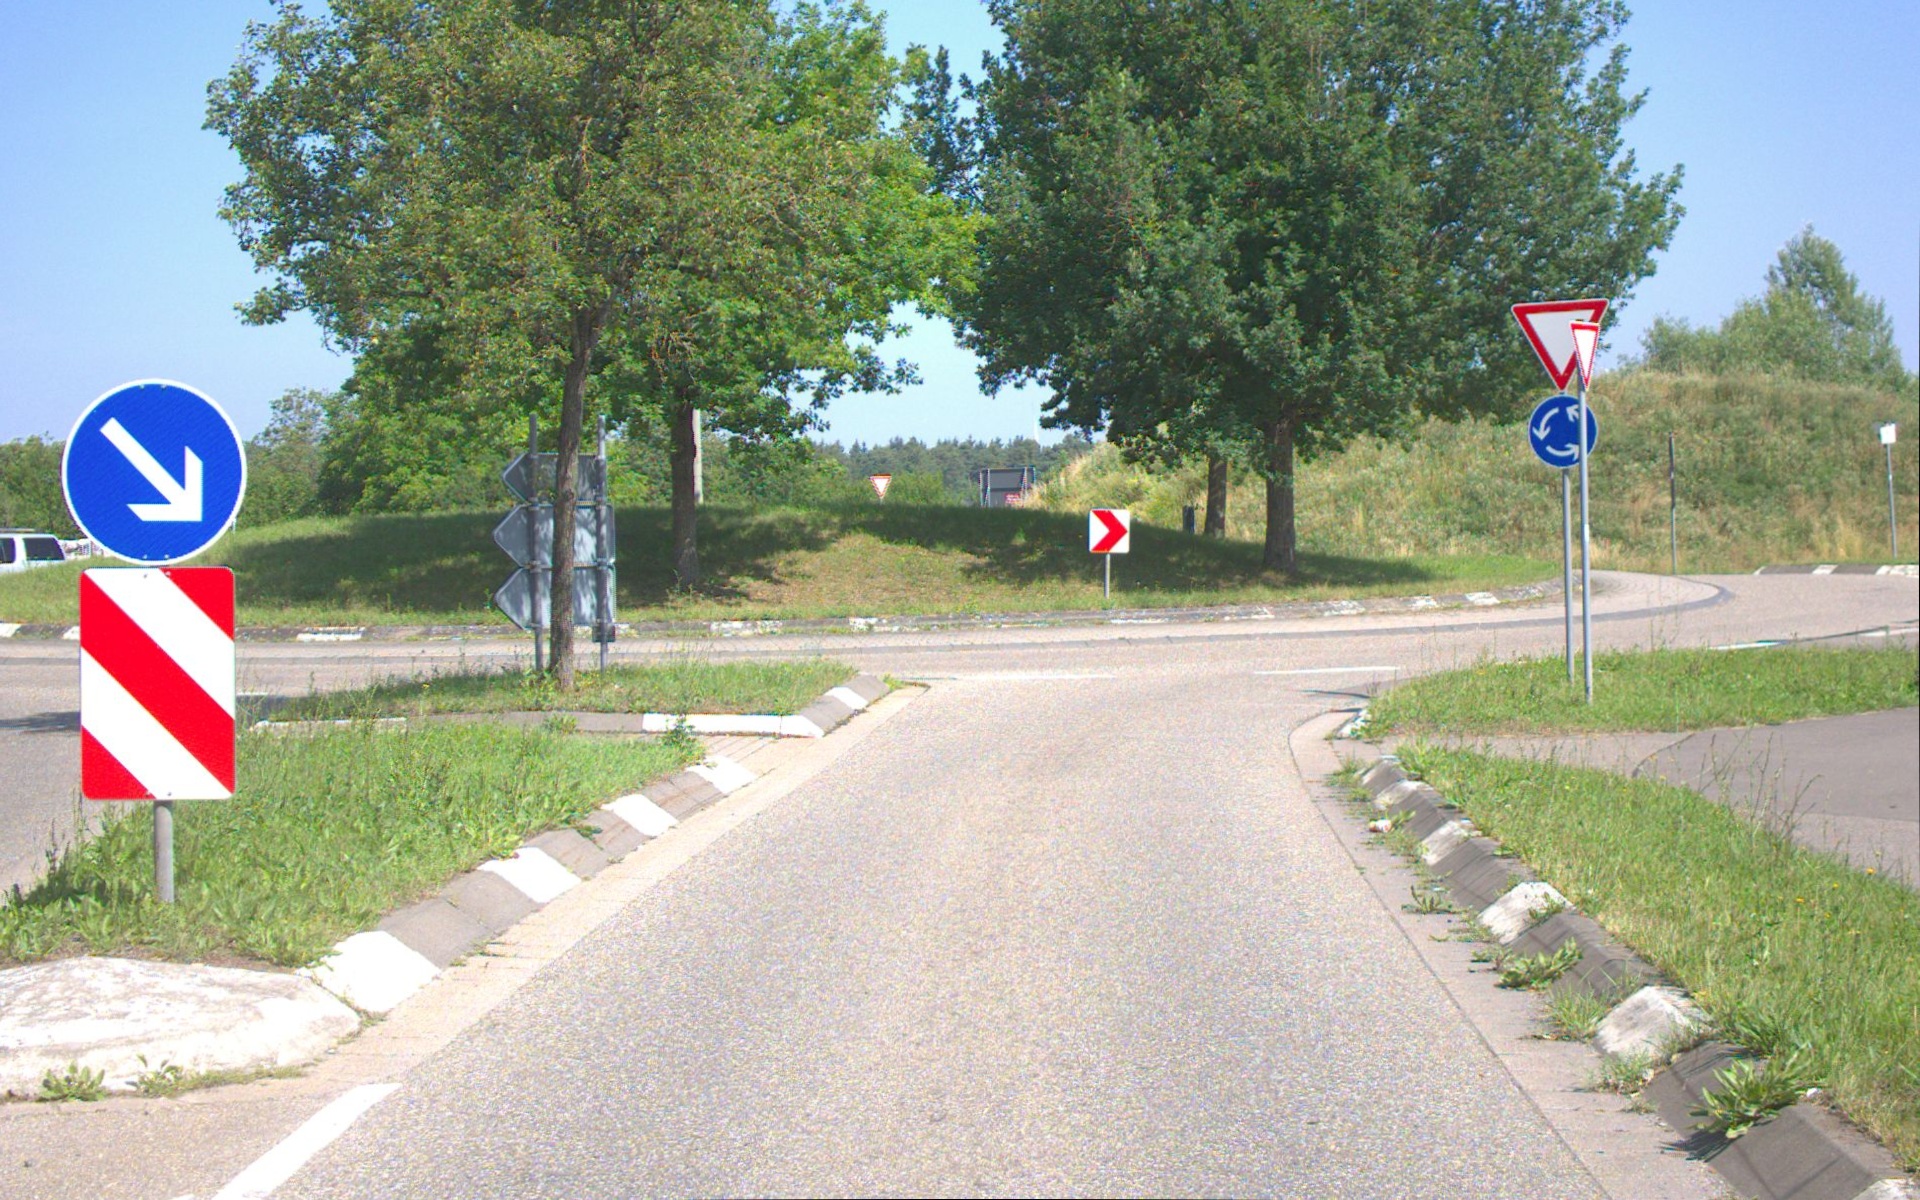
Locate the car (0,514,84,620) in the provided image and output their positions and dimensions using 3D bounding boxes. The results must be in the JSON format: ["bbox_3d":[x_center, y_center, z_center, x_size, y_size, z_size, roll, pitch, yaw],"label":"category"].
[{"bbox_3d":[-17.818,-0.543,60.116,1.898,1.809,4.586,0,2,38],"label":"car"}]
